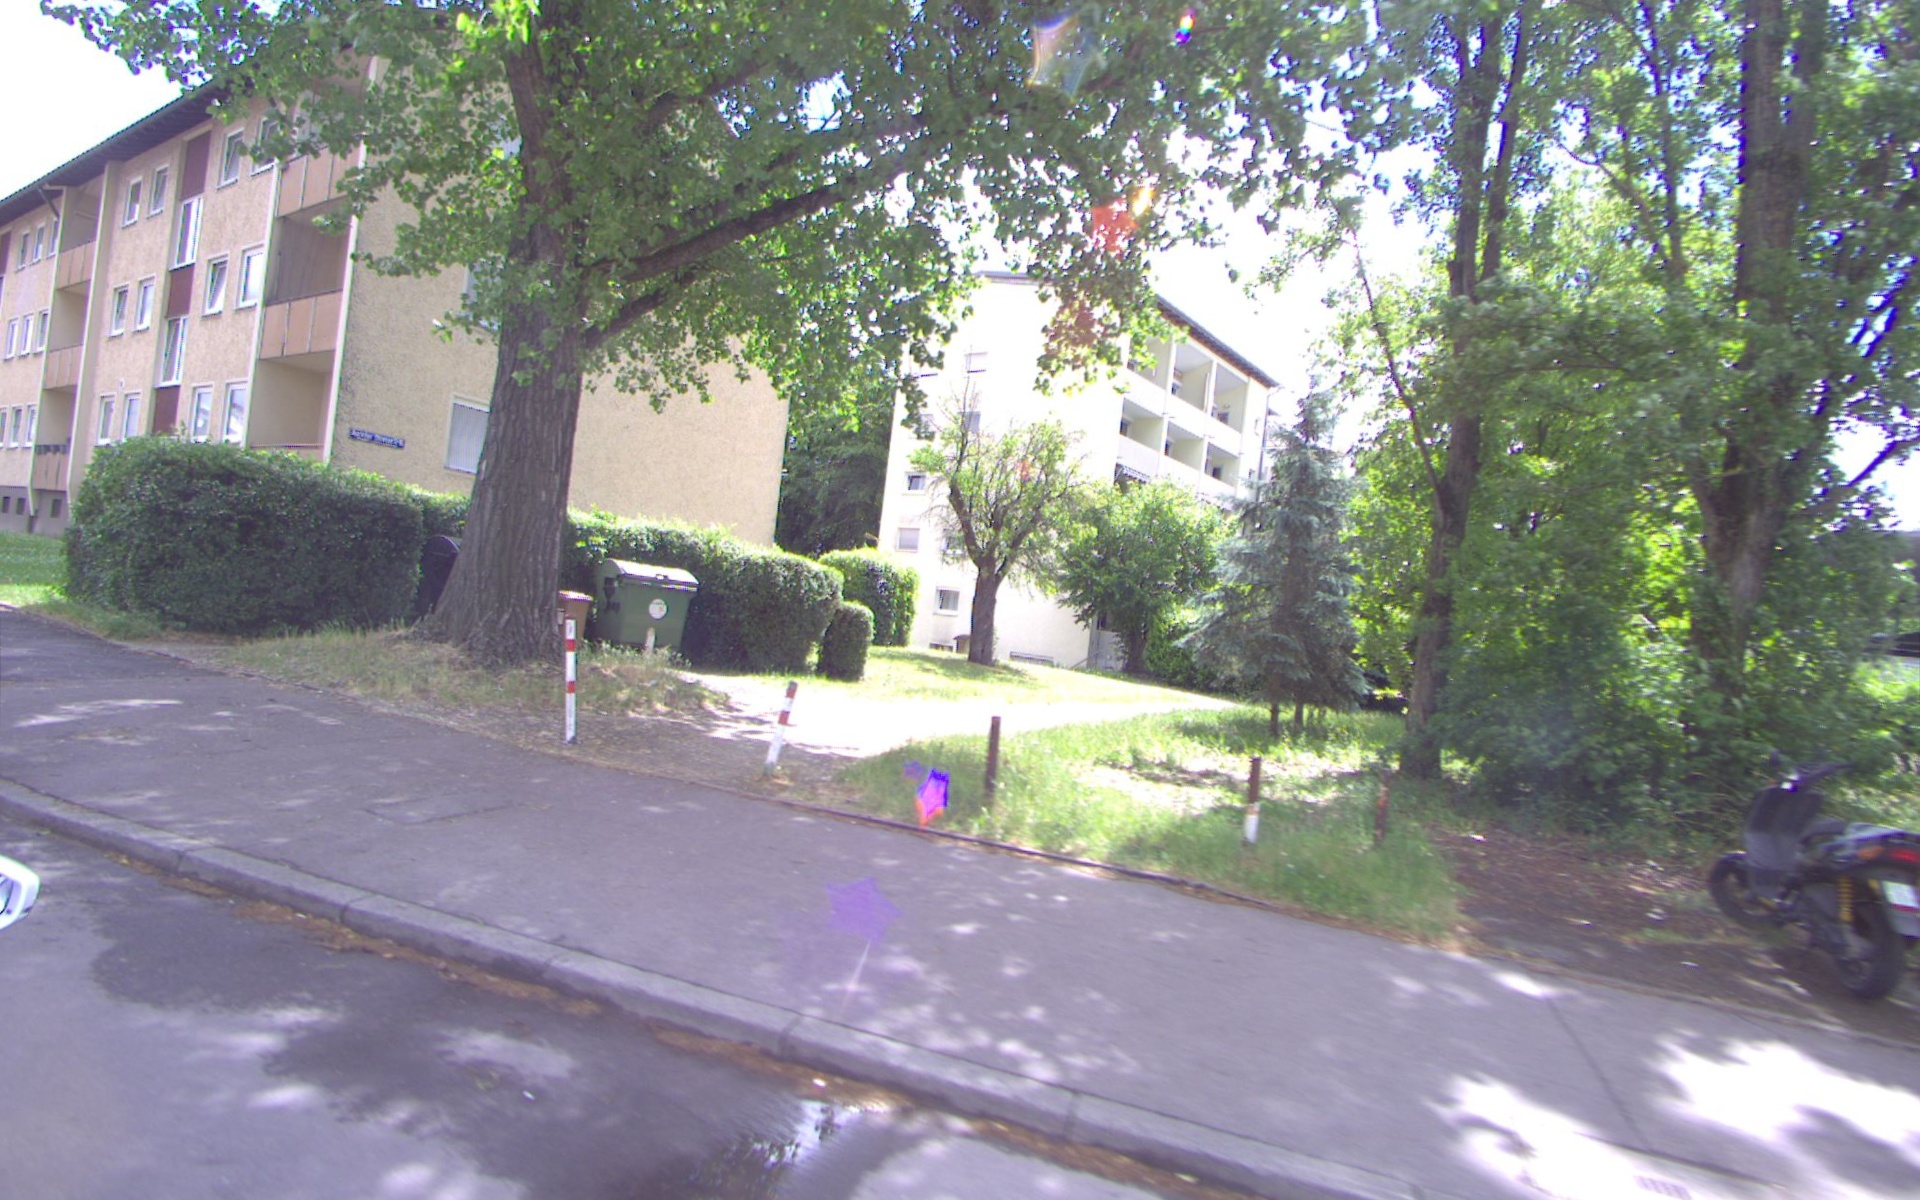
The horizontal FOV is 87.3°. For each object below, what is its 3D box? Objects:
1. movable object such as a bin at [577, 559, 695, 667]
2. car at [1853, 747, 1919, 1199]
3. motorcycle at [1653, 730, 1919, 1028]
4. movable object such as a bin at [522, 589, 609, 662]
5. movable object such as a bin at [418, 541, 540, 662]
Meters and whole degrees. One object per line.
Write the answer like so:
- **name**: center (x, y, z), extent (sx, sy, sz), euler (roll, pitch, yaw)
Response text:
- **movable object such as a bin**: center (-4.909, 0.209, 15.292), extent (1.040, 1.457, 1.170), euler (8, 1, 31)
- **car**: center (3.353, 1.231, 0.668), extent (3.761, 1.467, 1.818), euler (8, 1, 30)
- **motorcycle**: center (4.891, 1.499, 5.782), extent (0.698, 1.225, 1.801), euler (7, 0, 11)
- **movable object such as a bin**: center (-5.672, 0.376, 14.476), extent (0.749, 0.927, 0.803), euler (8, 1, 32)
- **movable object such as a bin**: center (-6.363, 0.040, 13.342), extent (0.749, 1.457, 1.099), euler (8, 1, 31)
